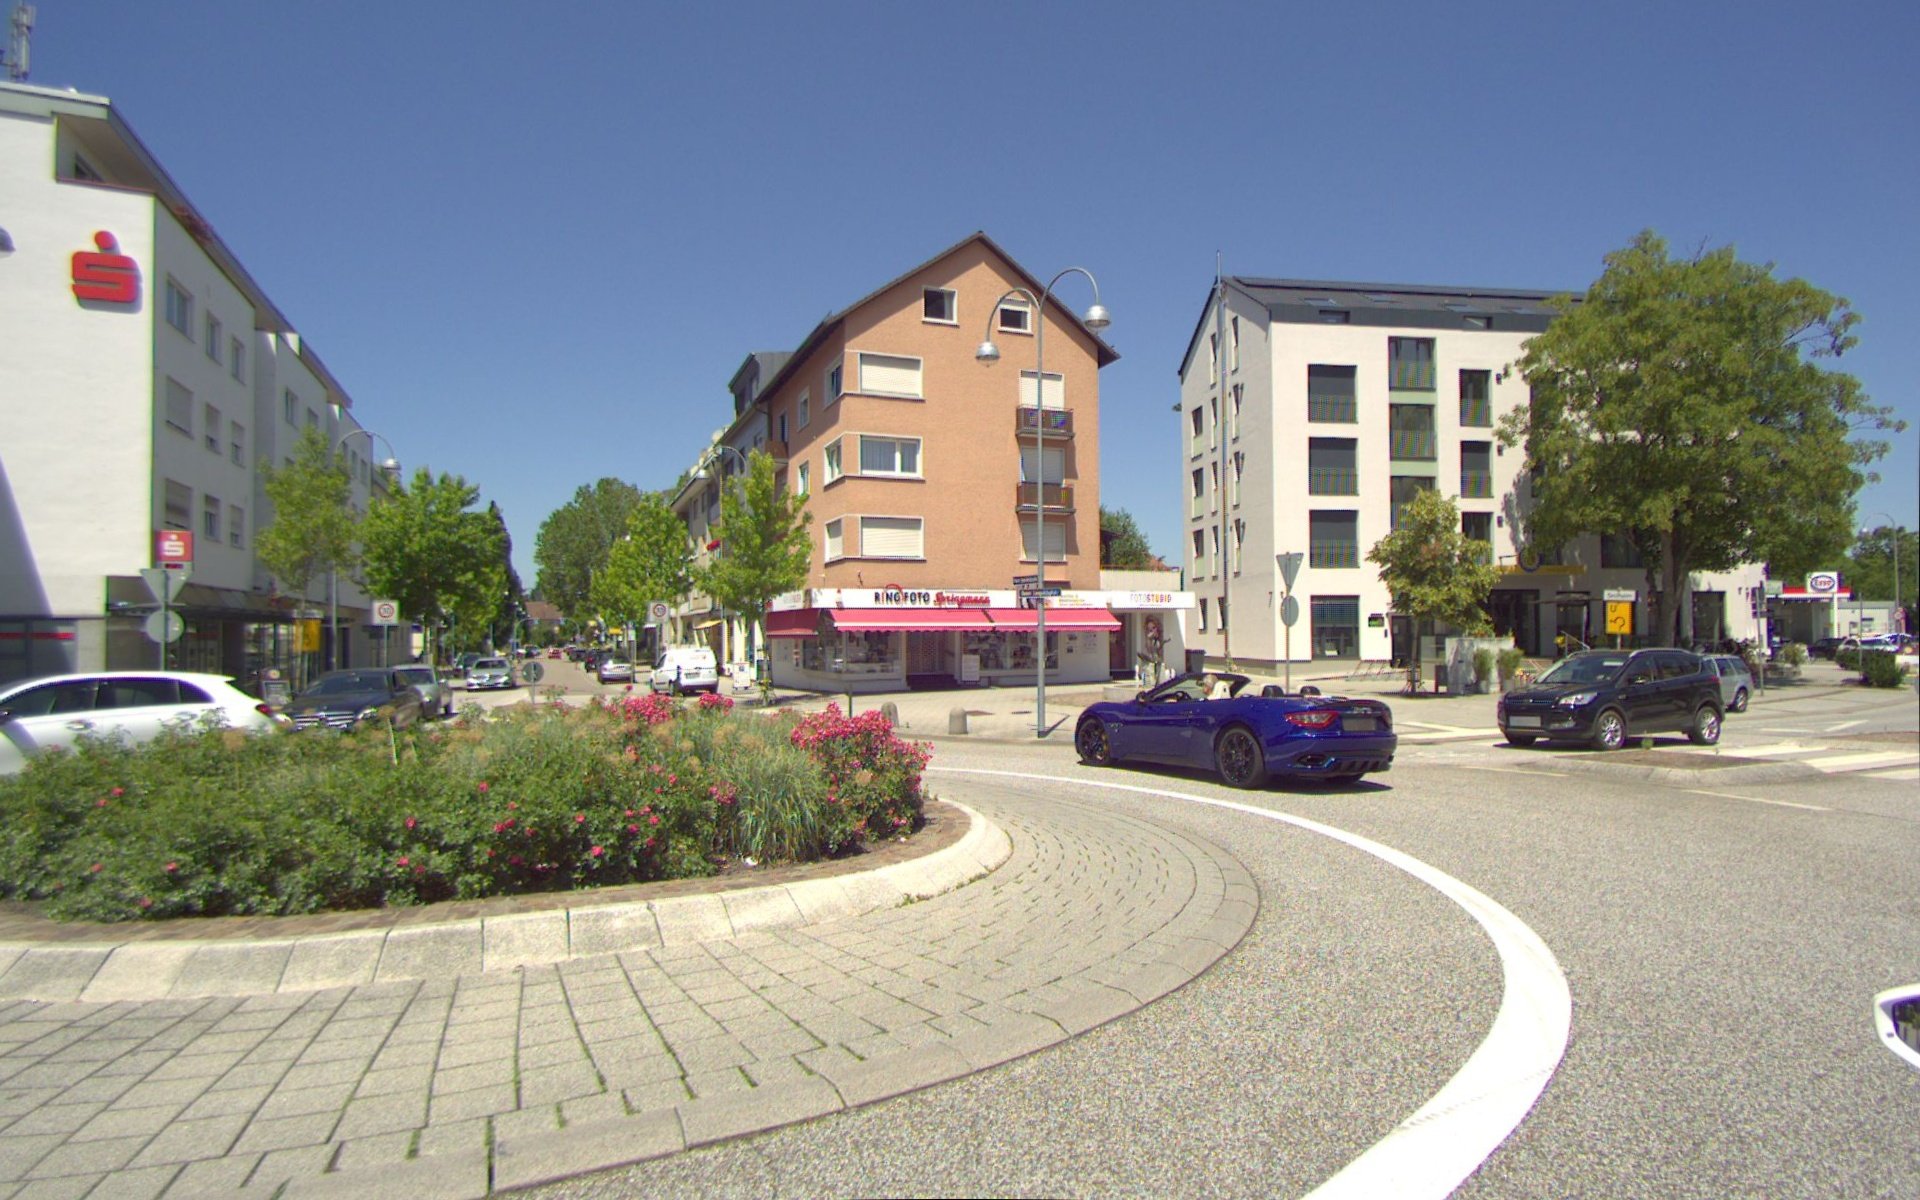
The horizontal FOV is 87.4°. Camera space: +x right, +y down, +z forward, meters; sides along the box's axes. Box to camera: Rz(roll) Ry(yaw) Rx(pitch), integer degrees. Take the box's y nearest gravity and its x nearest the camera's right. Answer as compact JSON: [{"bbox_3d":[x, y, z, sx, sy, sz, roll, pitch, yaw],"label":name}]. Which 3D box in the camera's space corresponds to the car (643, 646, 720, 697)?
[{"bbox_3d":[-10.501,2.645,37.718,1.733,1.747,3.876,-1,-2,-32],"label":"car"}]

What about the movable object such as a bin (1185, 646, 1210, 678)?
[{"bbox_3d":[9.328,2.431,39.506,0.746,1.170,0.773,-1,1,-5],"label":"movable object such as a bin"}]

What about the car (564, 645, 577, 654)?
[{"bbox_3d":[-67.615,8.568,174.264,1.929,1.495,4.115,-1,-2,-23],"label":"car"}]

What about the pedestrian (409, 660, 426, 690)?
[{"bbox_3d":[-26.367,3.637,48.862,0.559,1.390,0.665,-1,-2,-13],"label":"pedestrian"}]

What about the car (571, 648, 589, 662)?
[{"bbox_3d":[-46.126,6.621,121.878,1.954,1.469,4.326,-2,-1,-22],"label":"car"}]

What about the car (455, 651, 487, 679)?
[{"bbox_3d":[-33.637,4.457,69.208,1.710,1.763,4.368,3,-3,-23],"label":"car"}]

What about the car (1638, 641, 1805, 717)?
[{"bbox_3d":[18.669,1.877,24.613,3.950,1.611,1.788,0,0,-28],"label":"car"}]

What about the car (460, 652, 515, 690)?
[{"bbox_3d":[-21.473,3.192,45.834,1.971,1.613,4.974,0,-3,-22],"label":"car"}]

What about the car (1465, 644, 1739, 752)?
[{"bbox_3d":[11.509,1.666,18.011,4.463,1.710,1.989,1,-3,-24],"label":"car"}]

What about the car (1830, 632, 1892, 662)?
[{"bbox_3d":[52.096,2.713,58.135,1.804,1.594,3.993,-2,-2,29],"label":"car"}]

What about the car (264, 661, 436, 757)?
[{"bbox_3d":[-11.782,2.023,19.766,1.969,1.497,4.689,-1,-2,-20],"label":"car"}]

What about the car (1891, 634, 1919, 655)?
[{"bbox_3d":[65.120,3.054,68.733,1.520,1.396,3.988,-2,-3,35],"label":"car"}]

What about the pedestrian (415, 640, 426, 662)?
[{"bbox_3d":[-43.350,4.110,80.652,0.652,1.703,0.624,-2,1,-40],"label":"pedestrian"}]

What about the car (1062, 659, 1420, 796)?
[{"bbox_3d":[3.339,1.489,13.008,1.956,1.416,4.599,2,-4,-25],"label":"car"}]

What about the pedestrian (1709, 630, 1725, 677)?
[{"bbox_3d":[27.429,1.919,36.390,0.400,1.650,0.647,0,1,44],"label":"pedestrian"}]

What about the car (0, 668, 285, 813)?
[{"bbox_3d":[-10.031,1.496,10.753,1.903,1.399,4.273,-6,-6,36],"label":"car"}]

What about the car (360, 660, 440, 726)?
[{"bbox_3d":[-14.506,2.346,26.096,1.684,1.477,3.762,-1,-2,-29],"label":"car"}]

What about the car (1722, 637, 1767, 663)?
[{"bbox_3d":[50.397,3.172,64.584,1.805,1.594,3.991,-2,-3,31],"label":"car"}]

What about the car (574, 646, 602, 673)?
[{"bbox_3d":[-29.188,4.646,78.838,1.970,1.822,4.547,-1,0,-20],"label":"car"}]

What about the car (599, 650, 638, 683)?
[{"bbox_3d":[-17.902,3.471,52.517,1.722,1.570,3.925,-1,-3,-22],"label":"car"}]
